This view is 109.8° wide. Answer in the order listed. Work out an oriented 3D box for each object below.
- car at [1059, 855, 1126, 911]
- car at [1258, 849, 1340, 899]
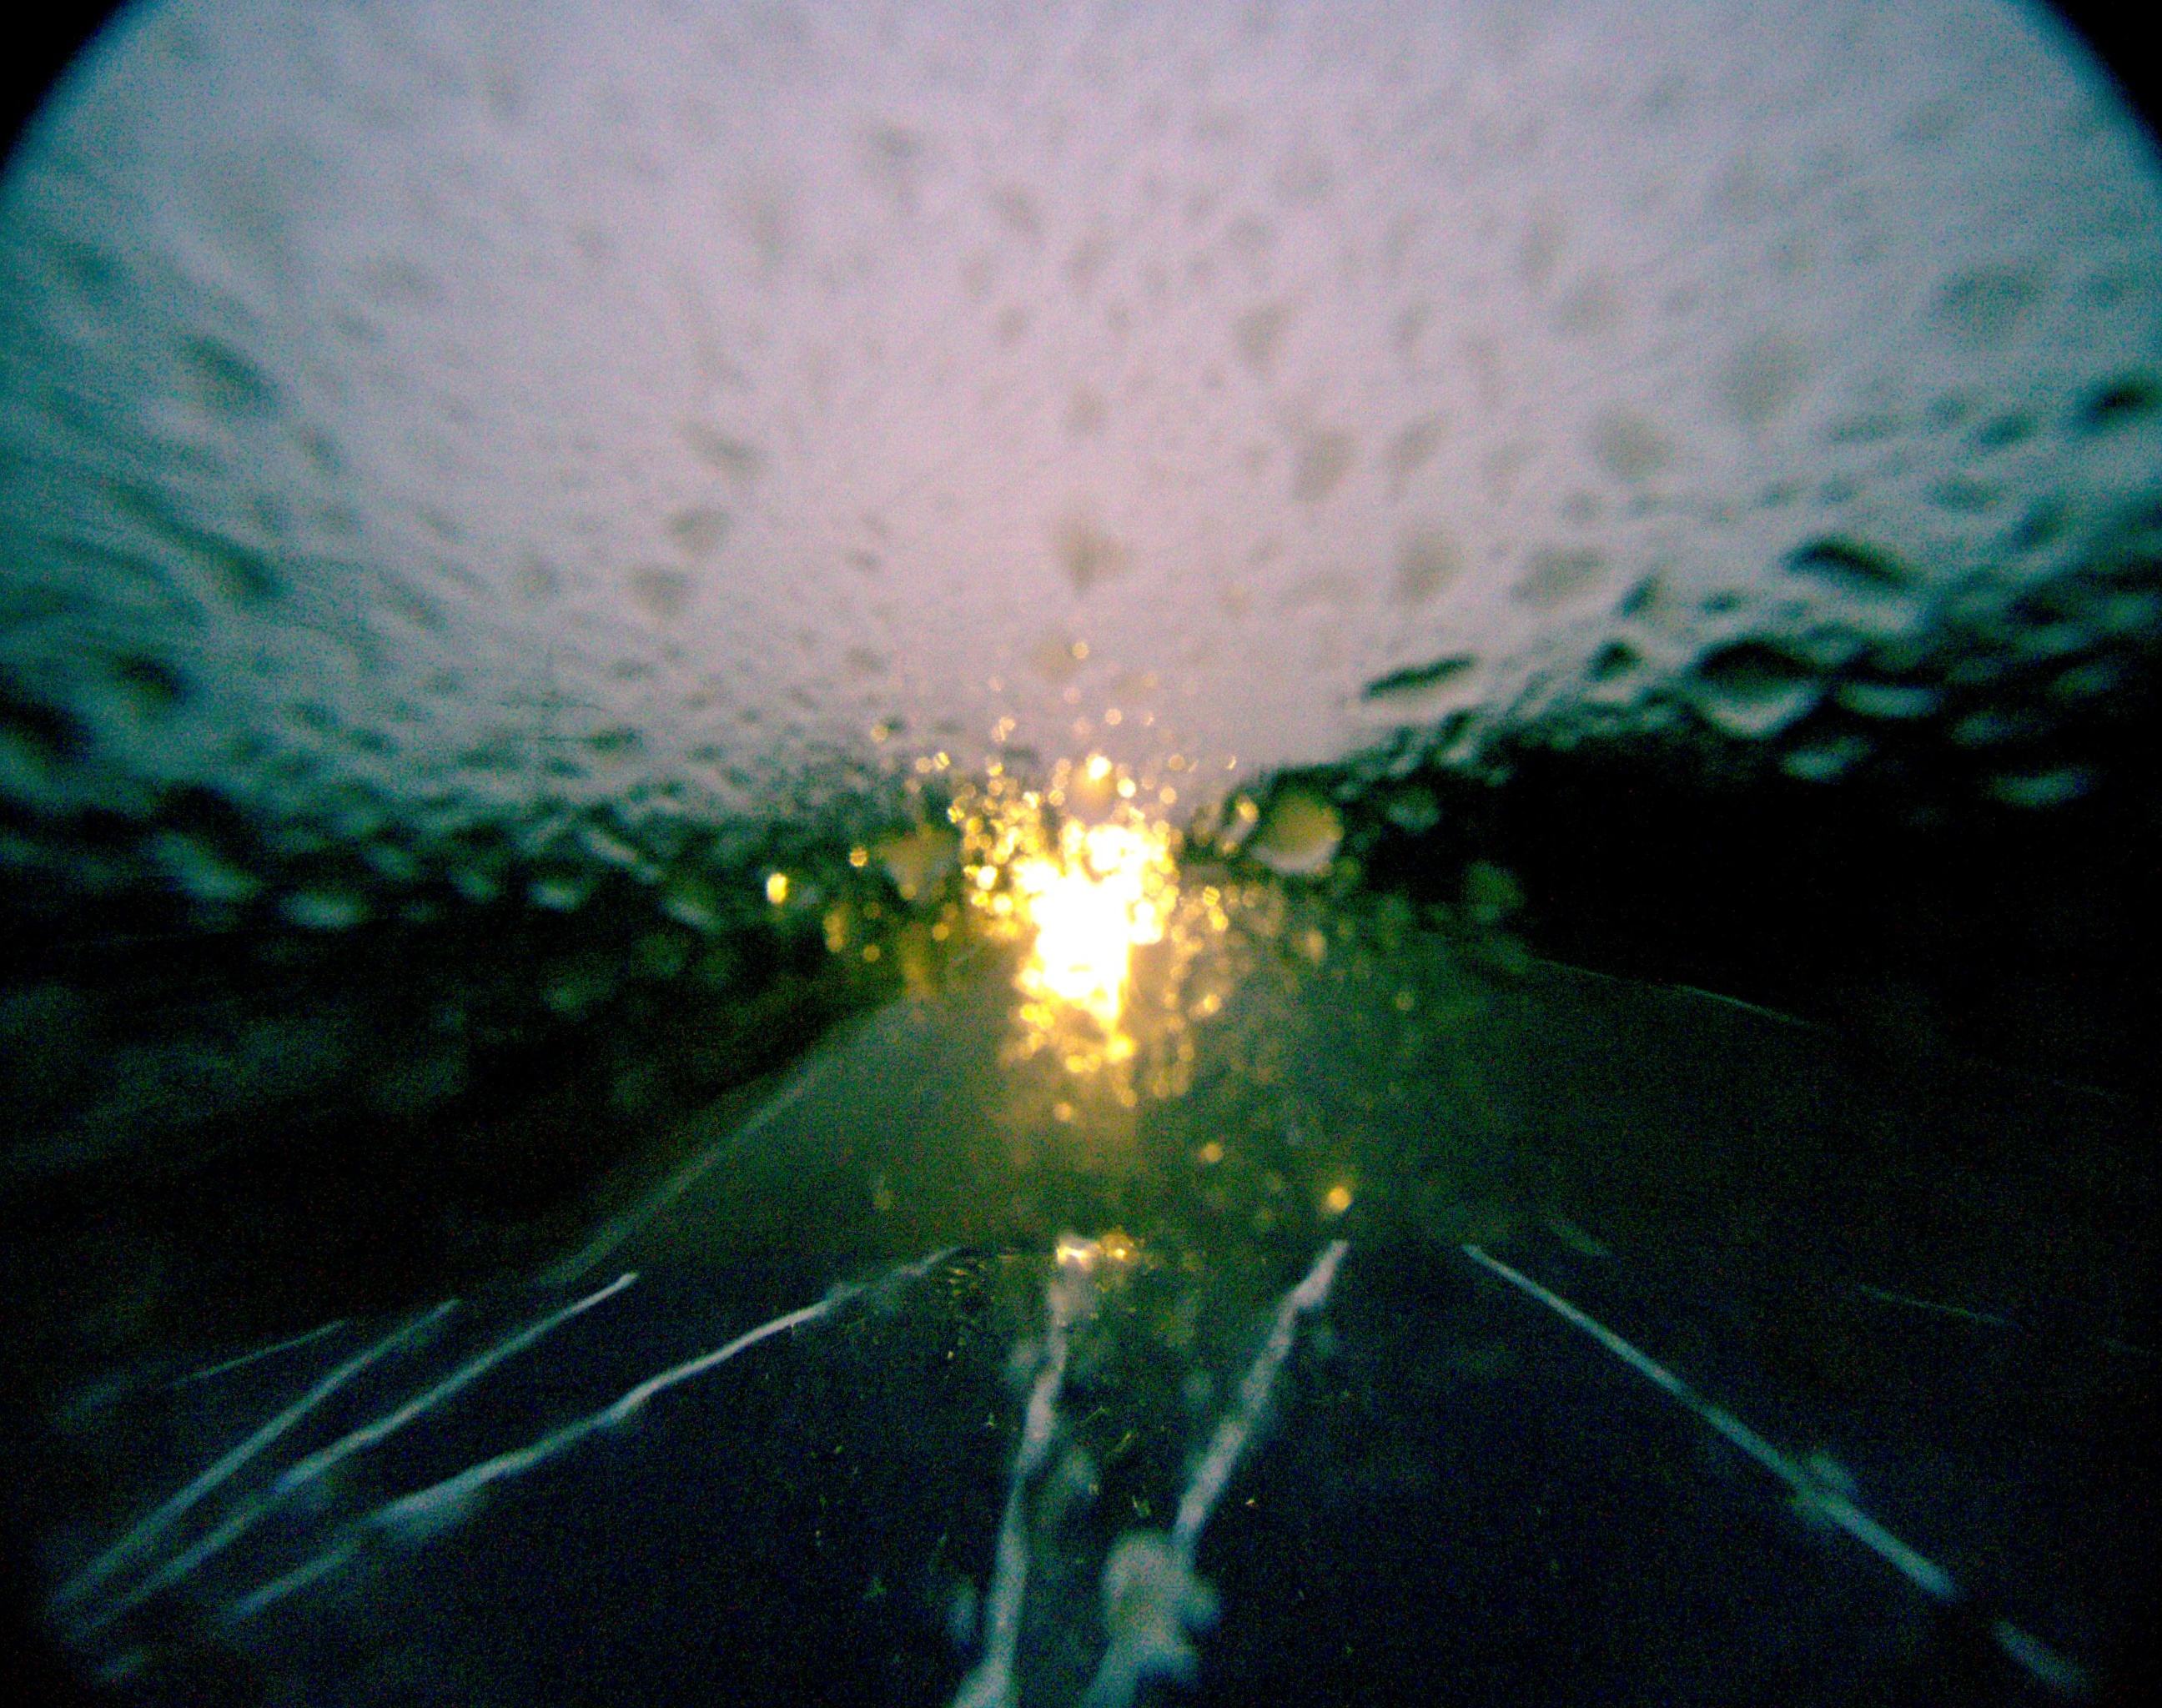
[{"bbox_3d":[0.470,0.902,25.619,1.998,1.601,4.000,-2,1,3],"label":"car"},{"bbox_3d":[7.406,0.630,26.150,1.780,1.599,3.773,0,1,1],"label":"car"}]
